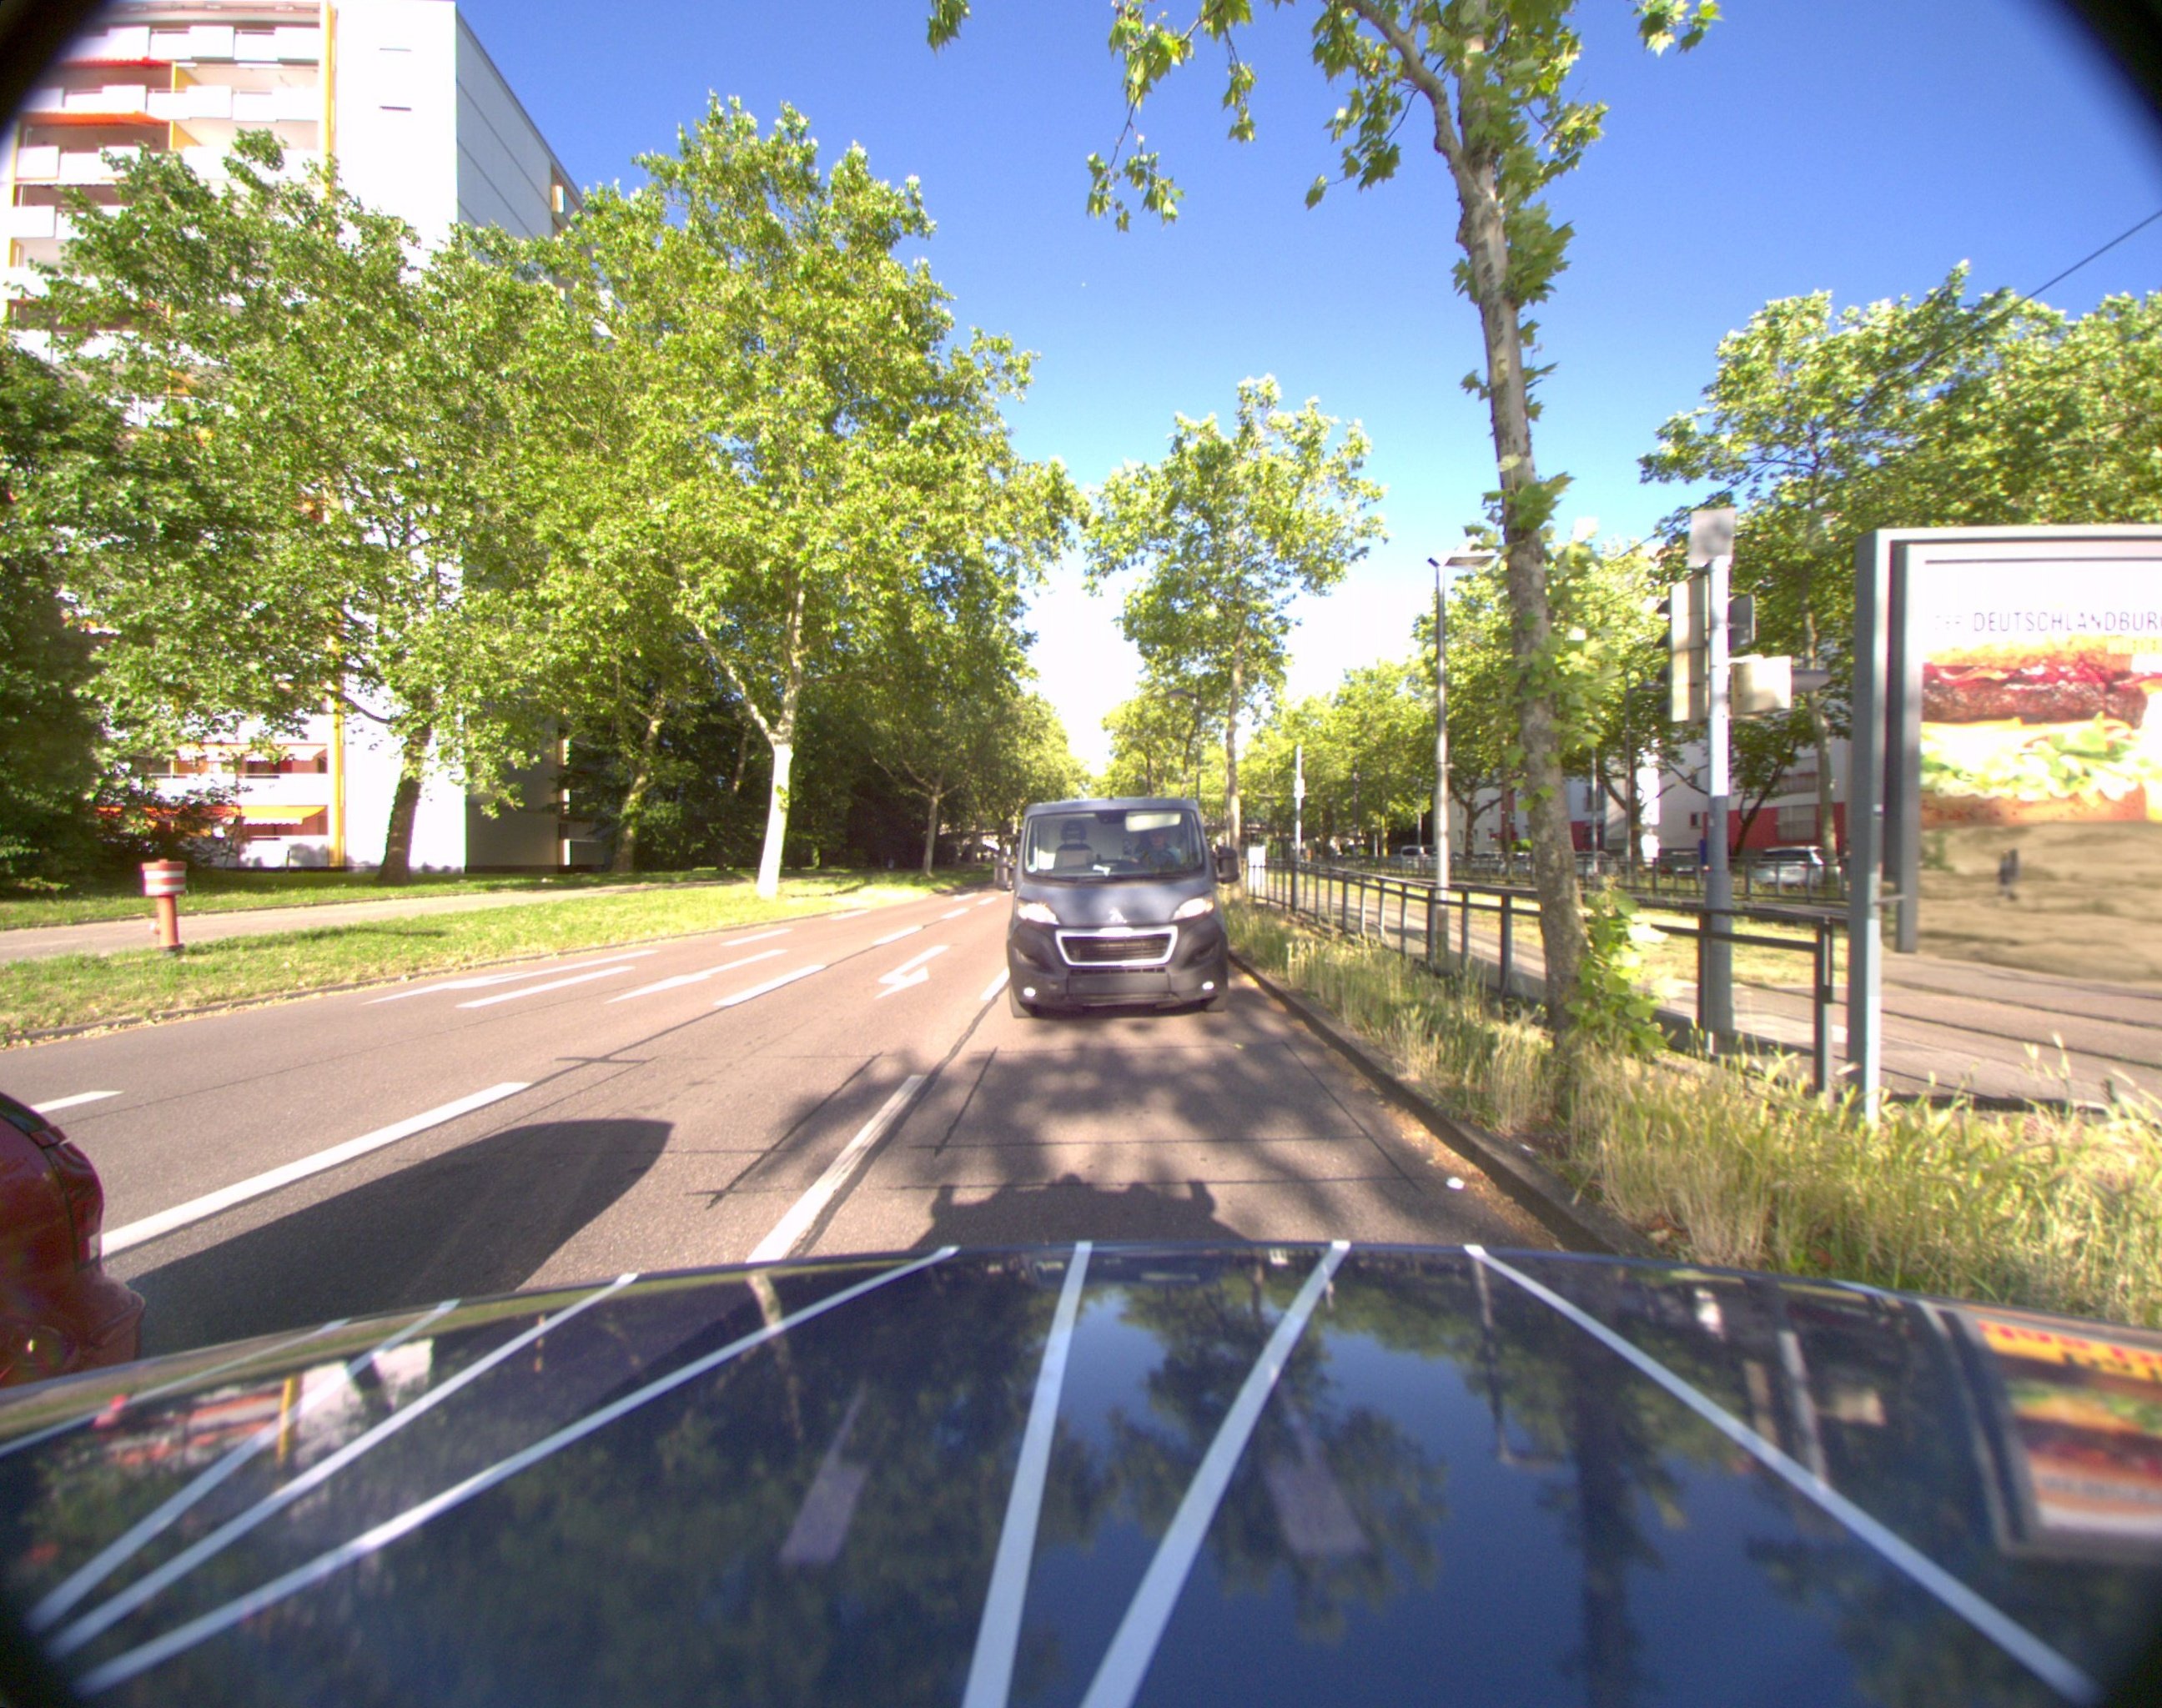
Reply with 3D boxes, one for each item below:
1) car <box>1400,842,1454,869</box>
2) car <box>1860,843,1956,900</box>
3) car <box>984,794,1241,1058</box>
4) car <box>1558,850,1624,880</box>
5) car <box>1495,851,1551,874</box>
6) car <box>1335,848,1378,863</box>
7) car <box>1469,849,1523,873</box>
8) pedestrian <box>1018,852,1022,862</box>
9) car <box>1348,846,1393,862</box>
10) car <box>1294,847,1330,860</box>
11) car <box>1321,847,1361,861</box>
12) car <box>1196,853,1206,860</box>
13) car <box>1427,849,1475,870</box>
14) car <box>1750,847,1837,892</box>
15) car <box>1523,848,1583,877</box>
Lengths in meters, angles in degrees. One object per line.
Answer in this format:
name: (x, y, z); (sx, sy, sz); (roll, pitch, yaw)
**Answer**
car: (25.956, 0.089, 56.977); (4.376, 1.873, 1.919); (-1, 1, -39)
car: (25.013, 0.465, 22.946); (3.689, 1.558, 1.683); (-1, 1, -38)
car: (0.291, 0.576, 8.738); (2.040, 2.102, 5.113); (-1, 0, 1)
car: (25.325, 0.504, 37.676); (3.689, 1.384, 1.645); (-1, 1, -38)
car: (26.195, 0.486, 44.945); (3.689, 1.234, 1.645); (-1, 1, -39)
car: (26.583, 0.104, 73.263); (4.376, 1.367, 1.919); (-1, 1, -39)
car: (25.952, 0.419, 47.480); (3.689, 1.440, 1.645); (-1, 1, -39)
pedestrian: (-8.688, 0.413, 108.163); (0.418, 1.454, 0.398); (-1, 1, -16)
car: (26.826, 0.014, 70.373); (4.376, 1.367, 1.919); (-1, 1, -39)
car: (27.197, -0.055, 89.414); (4.376, 1.367, 1.919); (-1, 1, -39)
car: (27.238, 0.029, 79.560); (4.376, 1.367, 1.919); (-1, 1, -39)
car: (25.744, 0.525, 163.026); (1.672, 1.351, 3.295); (-1, 0, 1)
car: (26.240, 0.352, 53.884); (3.689, 1.388, 1.645); (-1, 1, -39)
car: (25.051, 0.498, 26.671); (3.689, 1.425, 1.683); (-1, 1, -38)
car: (25.806, 0.433, 41.503); (3.689, 1.440, 1.645); (-1, 1, -39)
